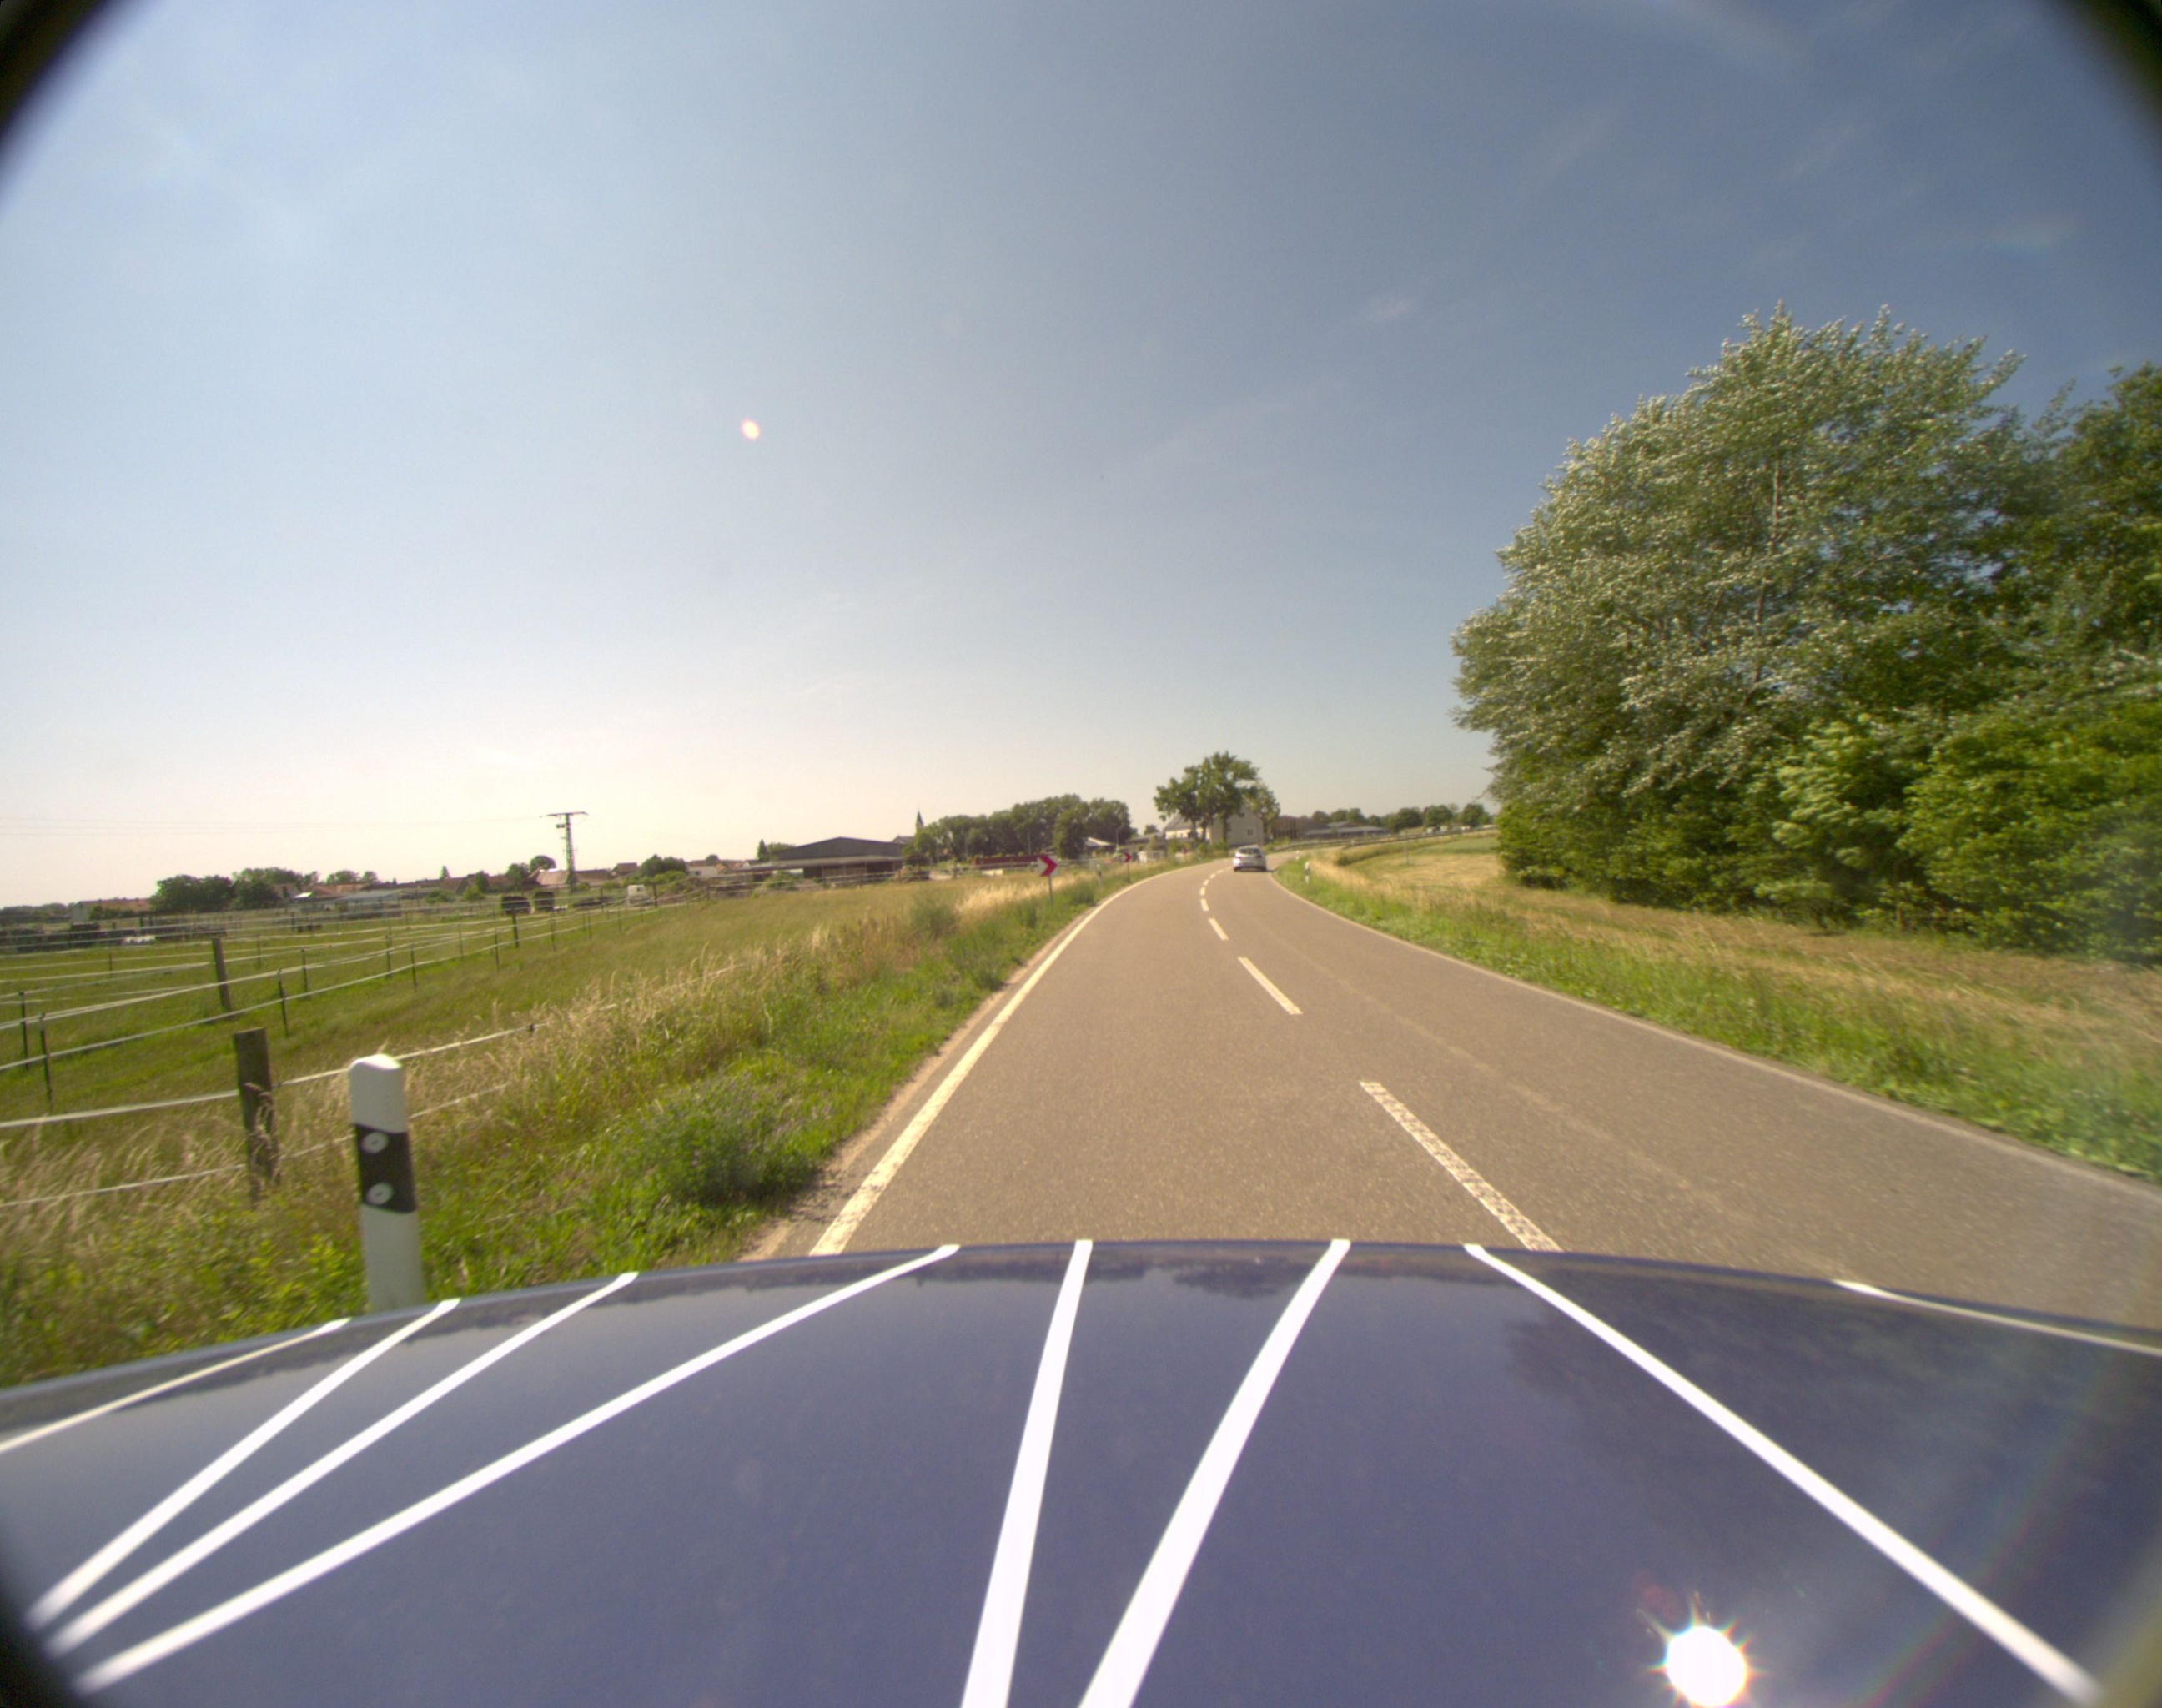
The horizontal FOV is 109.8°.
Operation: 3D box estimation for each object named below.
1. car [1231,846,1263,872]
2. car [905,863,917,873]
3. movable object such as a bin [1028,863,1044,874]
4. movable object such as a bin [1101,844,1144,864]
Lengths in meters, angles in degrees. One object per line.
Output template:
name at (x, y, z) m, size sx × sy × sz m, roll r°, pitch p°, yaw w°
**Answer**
car at (9.770, 0.253, 44.656) m, size 1.786 × 1.419 × 4.063 m, roll 0°, pitch 1°, yaw 13°
car at (-35.113, 2.895, 156.870) m, size 2.001 × 2.002 × 3.995 m, roll -6°, pitch 1°, yaw -16°
movable object such as a bin at (-5.862, 1.876, 98.570) m, size 1.518 × 1.341 × 1.370 m, roll -5°, pitch 1°, yaw -27°
movable object such as a bin at (7.103, 0.017, 128.657) m, size 6.513 × 2.753 × 3.006 m, roll -4°, pitch -1°, yaw -31°
